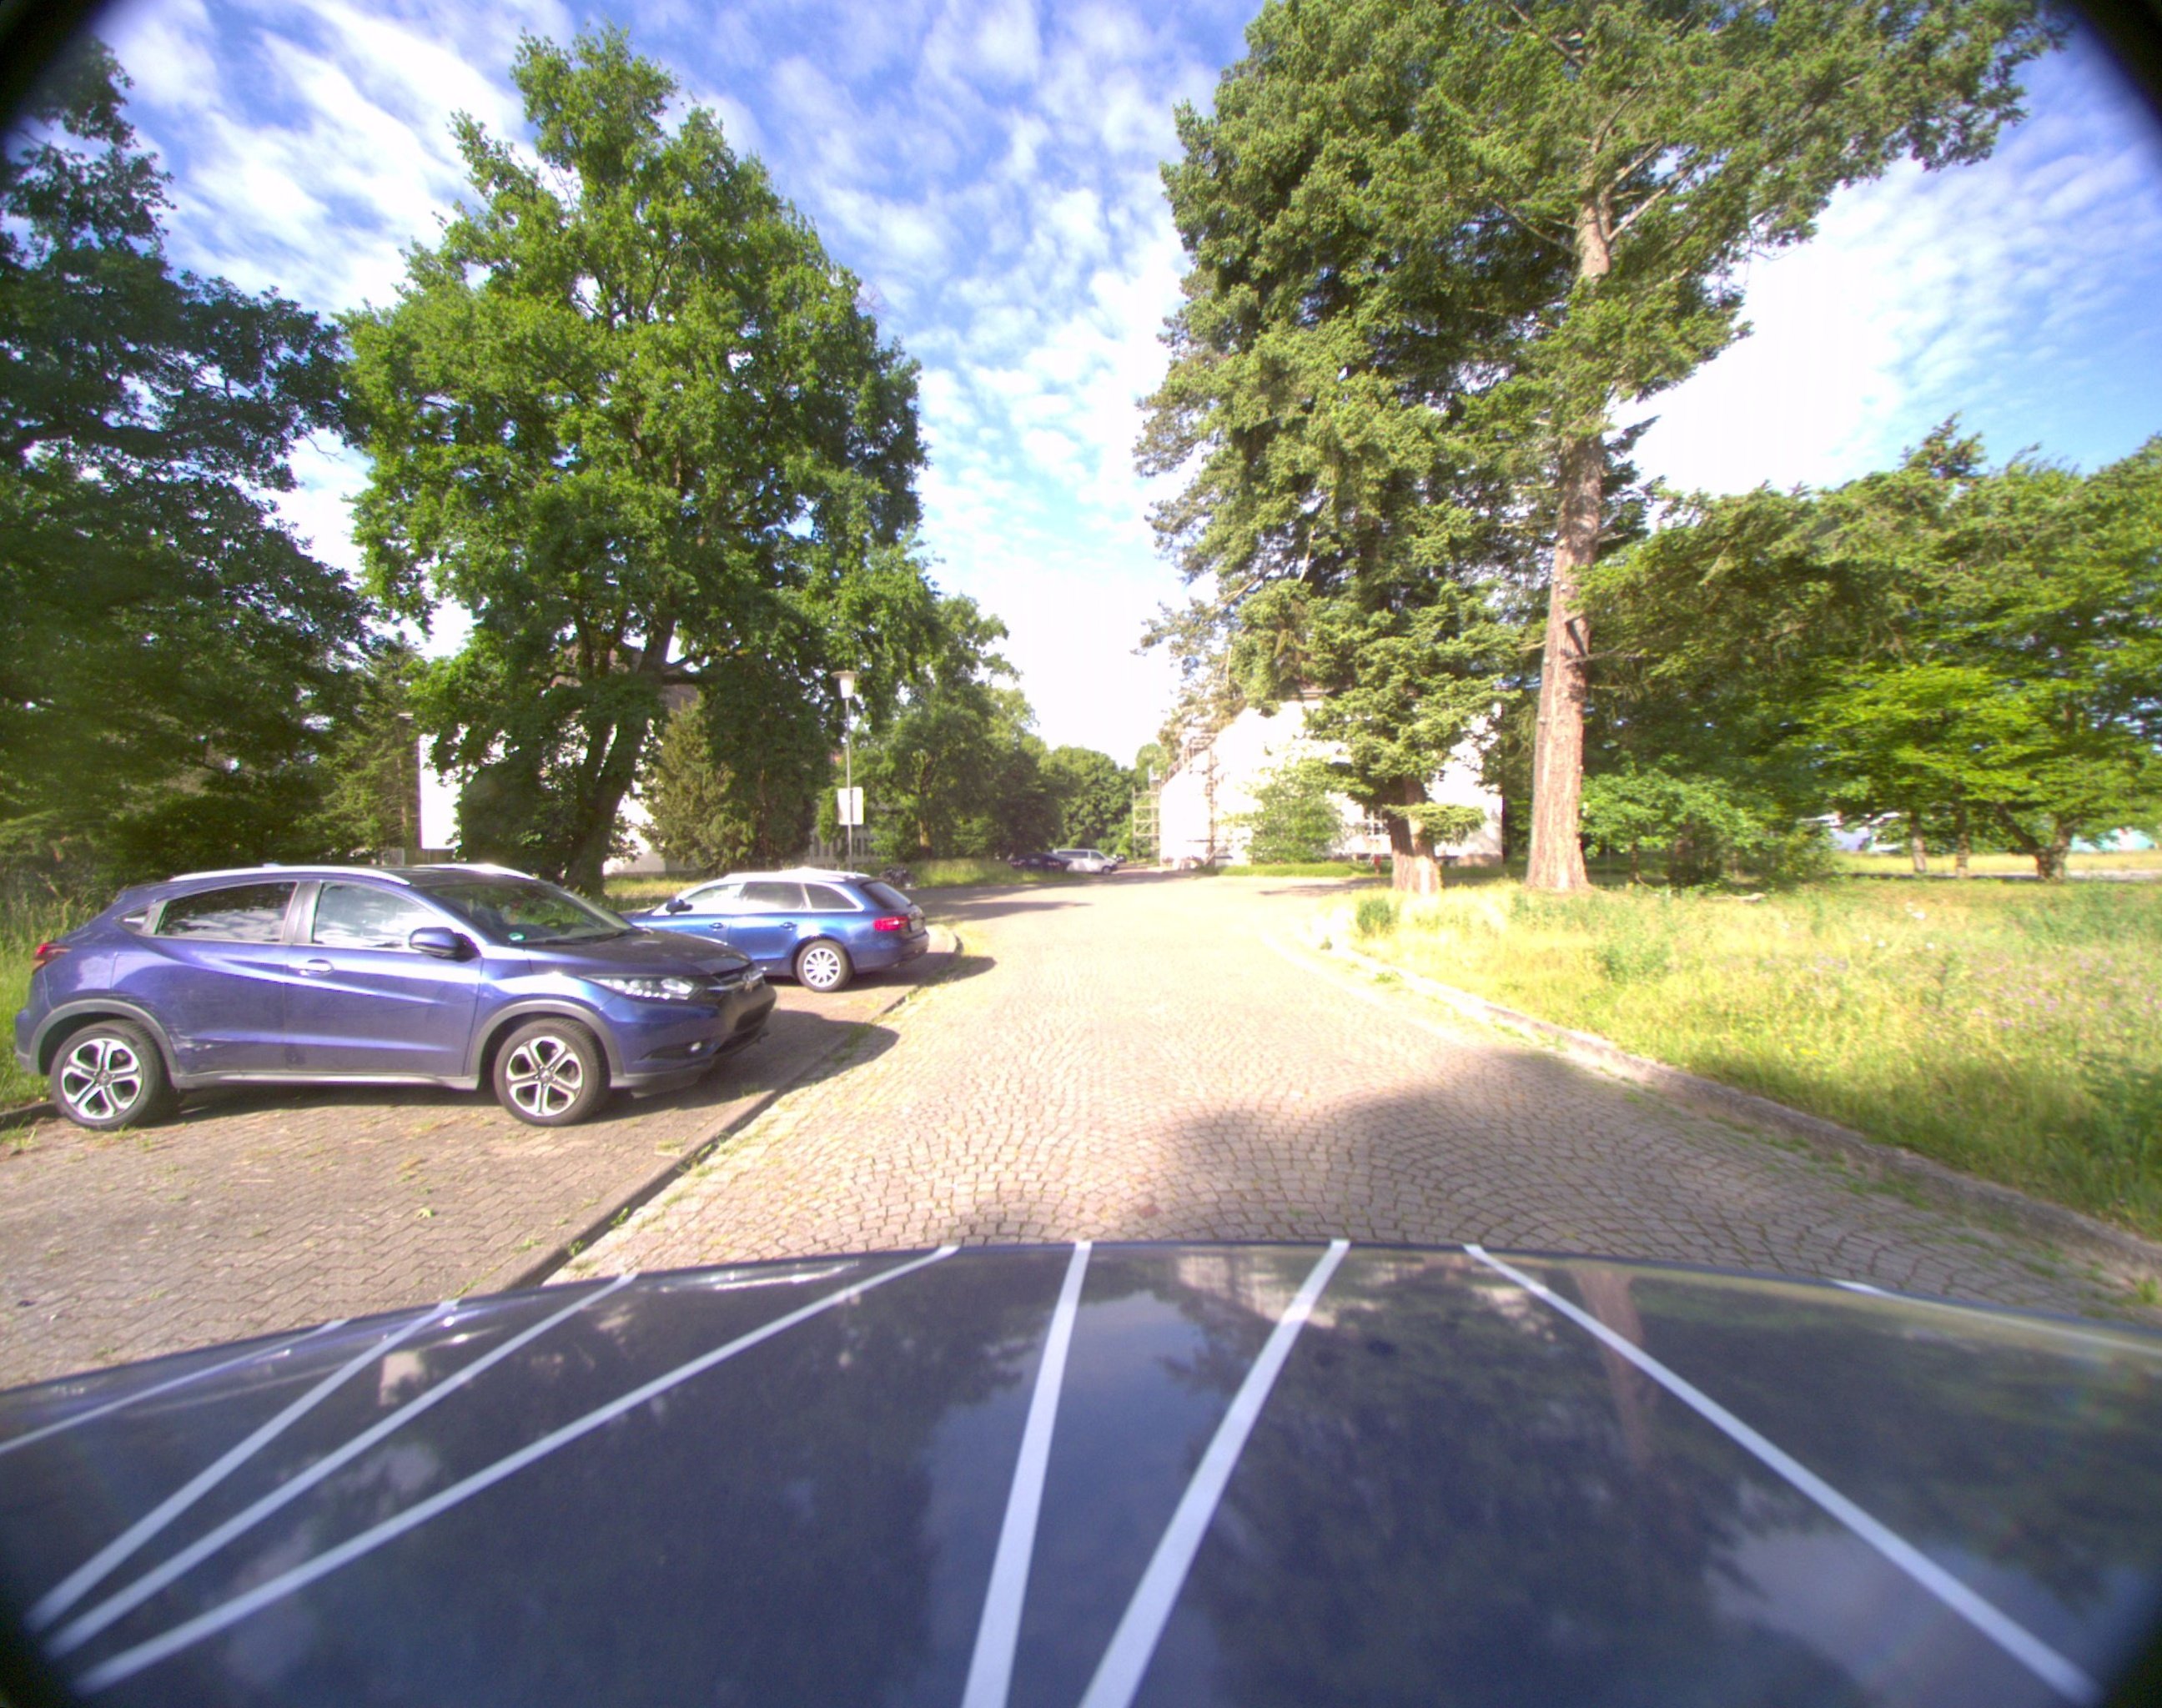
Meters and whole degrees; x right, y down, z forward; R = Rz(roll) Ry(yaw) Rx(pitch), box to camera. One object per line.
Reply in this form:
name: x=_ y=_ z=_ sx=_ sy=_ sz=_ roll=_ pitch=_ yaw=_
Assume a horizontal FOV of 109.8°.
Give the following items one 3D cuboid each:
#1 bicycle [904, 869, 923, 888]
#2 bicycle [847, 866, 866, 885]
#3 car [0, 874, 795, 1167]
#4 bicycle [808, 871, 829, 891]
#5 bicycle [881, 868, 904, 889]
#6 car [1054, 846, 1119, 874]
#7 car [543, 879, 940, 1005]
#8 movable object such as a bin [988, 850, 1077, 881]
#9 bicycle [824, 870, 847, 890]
bicycle: x=-8.602 y=1.255 z=39.031 sx=0.747 sy=0.929 sz=1.140 roll=-1 pitch=0 yaw=-2
bicycle: x=-12.877 y=1.231 z=43.514 sx=0.712 sy=1.010 sz=1.024 roll=-2 pitch=1 yaw=-36
car: x=-4.437 y=0.994 z=5.278 sx=4.187 sy=1.581 sz=1.751 roll=-1 pitch=0 yaw=0
bicycle: x=-13.471 y=1.372 z=38.989 sx=0.619 sy=1.010 sz=1.027 roll=-1 pitch=0 yaw=4
bicycle: x=-9.569 y=1.214 z=38.638 sx=0.710 sy=1.010 sz=1.257 roll=-1 pitch=0 yaw=8
car: x=0.426 y=0.474 z=58.763 sx=4.936 sy=2.002 sz=2.000 roll=-1 pitch=0 yaw=1
car: x=-4.262 y=1.072 z=9.959 sx=4.459 sy=1.399 sz=1.714 roll=0 pitch=1 yaw=4
movable object such as a bin: x=-2.885 y=0.666 z=45.817 sx=4.931 sy=1.749 sz=2.002 roll=-1 pitch=0 yaw=15
bicycle: x=-12.703 y=1.348 z=39.352 sx=0.710 sy=1.010 sz=1.028 roll=-1 pitch=0 yaw=8
